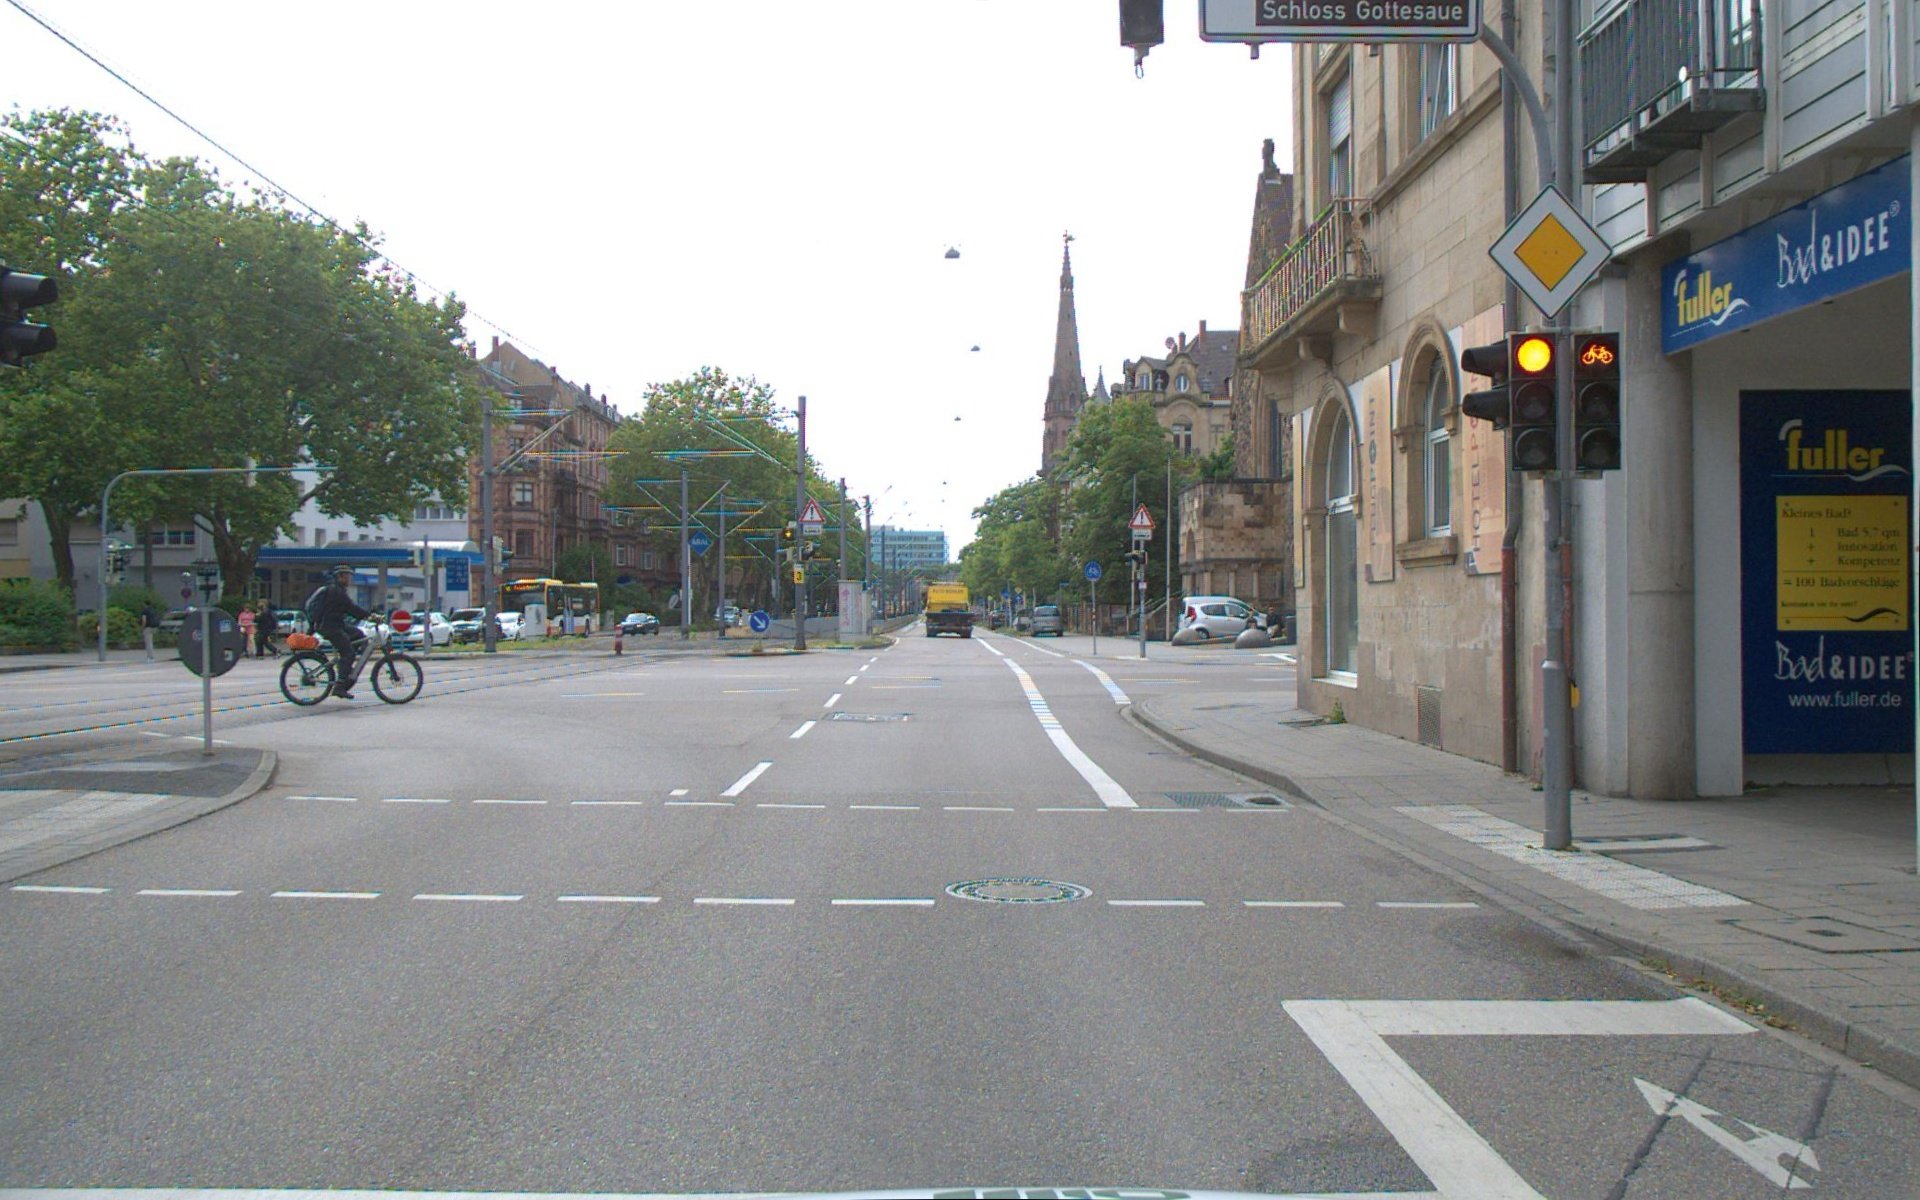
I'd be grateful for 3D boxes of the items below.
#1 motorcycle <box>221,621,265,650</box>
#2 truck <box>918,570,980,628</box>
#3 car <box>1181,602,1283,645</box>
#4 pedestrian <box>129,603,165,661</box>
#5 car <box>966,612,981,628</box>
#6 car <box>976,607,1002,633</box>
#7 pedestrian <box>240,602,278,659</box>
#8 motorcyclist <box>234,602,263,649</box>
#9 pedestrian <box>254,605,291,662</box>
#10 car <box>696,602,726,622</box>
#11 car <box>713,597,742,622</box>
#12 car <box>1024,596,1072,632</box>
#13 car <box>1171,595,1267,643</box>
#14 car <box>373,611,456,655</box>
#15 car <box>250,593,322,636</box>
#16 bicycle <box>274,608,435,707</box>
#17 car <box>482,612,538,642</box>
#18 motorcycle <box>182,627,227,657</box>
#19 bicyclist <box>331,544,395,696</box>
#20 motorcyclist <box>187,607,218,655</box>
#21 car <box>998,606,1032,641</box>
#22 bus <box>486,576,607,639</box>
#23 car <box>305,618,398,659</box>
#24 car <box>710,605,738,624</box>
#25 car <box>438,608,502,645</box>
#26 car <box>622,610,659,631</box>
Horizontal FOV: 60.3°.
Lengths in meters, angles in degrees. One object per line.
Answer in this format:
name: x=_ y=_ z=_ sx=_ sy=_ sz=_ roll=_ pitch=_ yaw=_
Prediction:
motorcycle: x=-23.690 y=1.166 z=54.665 sx=0.594 sy=0.945 sz=1.951 roll=0 pitch=0 yaw=0
truck: x=-0.642 y=-0.056 z=85.502 sx=2.993 sy=2.817 sz=9.812 roll=0 pitch=0 yaw=-1
car: x=10.675 y=0.921 z=65.084 sx=3.638 sy=1.591 sz=2.000 roll=1 pitch=0 yaw=-1
pedestrian: x=-24.566 y=0.953 z=49.978 sx=0.669 sy=1.720 sz=0.742 roll=1 pitch=-1 yaw=4
car: x=1.770 y=2.640 z=216.816 sx=1.953 sy=2.049 sz=3.999 roll=1 pitch=0 yaw=-1
car: x=2.378 y=1.615 z=136.088 sx=1.953 sy=2.049 sz=3.999 roll=1 pitch=0 yaw=-1
pedestrian: x=-21.359 y=0.926 z=50.379 sx=0.849 sy=1.743 sz=0.691 roll=0 pitch=0 yaw=3
motorcyclist: x=-23.659 y=0.856 z=55.000 sx=0.607 sy=1.546 sz=0.873 roll=0 pitch=0 yaw=-1
pedestrian: x=-21.357 y=1.031 z=51.367 sx=0.854 sy=1.743 sz=0.874 roll=0 pitch=0 yaw=-7
car: x=-21.221 y=1.012 z=141.175 sx=1.953 sy=1.639 sz=3.999 roll=1 pitch=0 yaw=-1
car: x=-19.637 y=0.763 z=139.879 sx=1.953 sy=2.049 sz=3.999 roll=1 pitch=0 yaw=-1
car: x=4.816 y=0.763 z=90.039 sx=1.951 sy=1.888 sz=4.030 roll=1 pitch=0 yaw=12
car: x=10.691 y=0.789 z=68.549 sx=3.638 sy=1.888 sz=2.000 roll=1 pitch=0 yaw=-1
car: x=-21.423 y=1.284 z=65.121 sx=1.953 sy=1.622 sz=3.999 roll=1 pitch=0 yaw=-1
car: x=-32.944 y=0.696 z=80.924 sx=1.953 sy=2.049 sz=3.999 roll=0 pitch=0 yaw=-1
bicycle: x=-8.305 y=0.782 z=22.725 sx=1.970 sy=1.294 sz=0.743 roll=1 pitch=-1 yaw=-31
car: x=-21.379 y=1.280 z=78.693 sx=1.622 sy=1.344 sz=3.638 roll=1 pitch=0 yaw=1
motorcycle: x=-24.679 y=1.368 z=54.070 sx=0.594 sy=0.945 sz=1.951 roll=0 pitch=0 yaw=0
bicyclist: x=-8.227 y=0.272 z=22.796 sx=0.684 sy=2.049 sz=0.775 roll=1 pitch=-1 yaw=-29
motorcyclist: x=-24.677 y=0.992 z=53.900 sx=0.607 sy=1.546 sz=0.873 roll=0 pitch=0 yaw=-1
car: x=3.289 y=1.411 z=99.619 sx=1.952 sy=2.049 sz=4.000 roll=1 pitch=0 yaw=1
bus: x=-21.966 y=0.412 z=88.747 sx=3.164 sy=3.088 sz=12.312 roll=1 pitch=0 yaw=1
car: x=-21.481 y=1.328 z=58.551 sx=1.711 sy=1.344 sz=4.075 roll=1 pitch=0 yaw=1
car: x=-21.241 y=1.306 z=148.928 sx=1.953 sy=1.639 sz=3.999 roll=1 pitch=0 yaw=-1
car: x=-21.223 y=1.135 z=71.774 sx=1.622 sy=1.504 sz=3.638 roll=1 pitch=0 yaw=1
car: x=-21.036 y=1.325 z=109.024 sx=1.622 sy=1.344 sz=3.638 roll=1 pitch=0 yaw=1
